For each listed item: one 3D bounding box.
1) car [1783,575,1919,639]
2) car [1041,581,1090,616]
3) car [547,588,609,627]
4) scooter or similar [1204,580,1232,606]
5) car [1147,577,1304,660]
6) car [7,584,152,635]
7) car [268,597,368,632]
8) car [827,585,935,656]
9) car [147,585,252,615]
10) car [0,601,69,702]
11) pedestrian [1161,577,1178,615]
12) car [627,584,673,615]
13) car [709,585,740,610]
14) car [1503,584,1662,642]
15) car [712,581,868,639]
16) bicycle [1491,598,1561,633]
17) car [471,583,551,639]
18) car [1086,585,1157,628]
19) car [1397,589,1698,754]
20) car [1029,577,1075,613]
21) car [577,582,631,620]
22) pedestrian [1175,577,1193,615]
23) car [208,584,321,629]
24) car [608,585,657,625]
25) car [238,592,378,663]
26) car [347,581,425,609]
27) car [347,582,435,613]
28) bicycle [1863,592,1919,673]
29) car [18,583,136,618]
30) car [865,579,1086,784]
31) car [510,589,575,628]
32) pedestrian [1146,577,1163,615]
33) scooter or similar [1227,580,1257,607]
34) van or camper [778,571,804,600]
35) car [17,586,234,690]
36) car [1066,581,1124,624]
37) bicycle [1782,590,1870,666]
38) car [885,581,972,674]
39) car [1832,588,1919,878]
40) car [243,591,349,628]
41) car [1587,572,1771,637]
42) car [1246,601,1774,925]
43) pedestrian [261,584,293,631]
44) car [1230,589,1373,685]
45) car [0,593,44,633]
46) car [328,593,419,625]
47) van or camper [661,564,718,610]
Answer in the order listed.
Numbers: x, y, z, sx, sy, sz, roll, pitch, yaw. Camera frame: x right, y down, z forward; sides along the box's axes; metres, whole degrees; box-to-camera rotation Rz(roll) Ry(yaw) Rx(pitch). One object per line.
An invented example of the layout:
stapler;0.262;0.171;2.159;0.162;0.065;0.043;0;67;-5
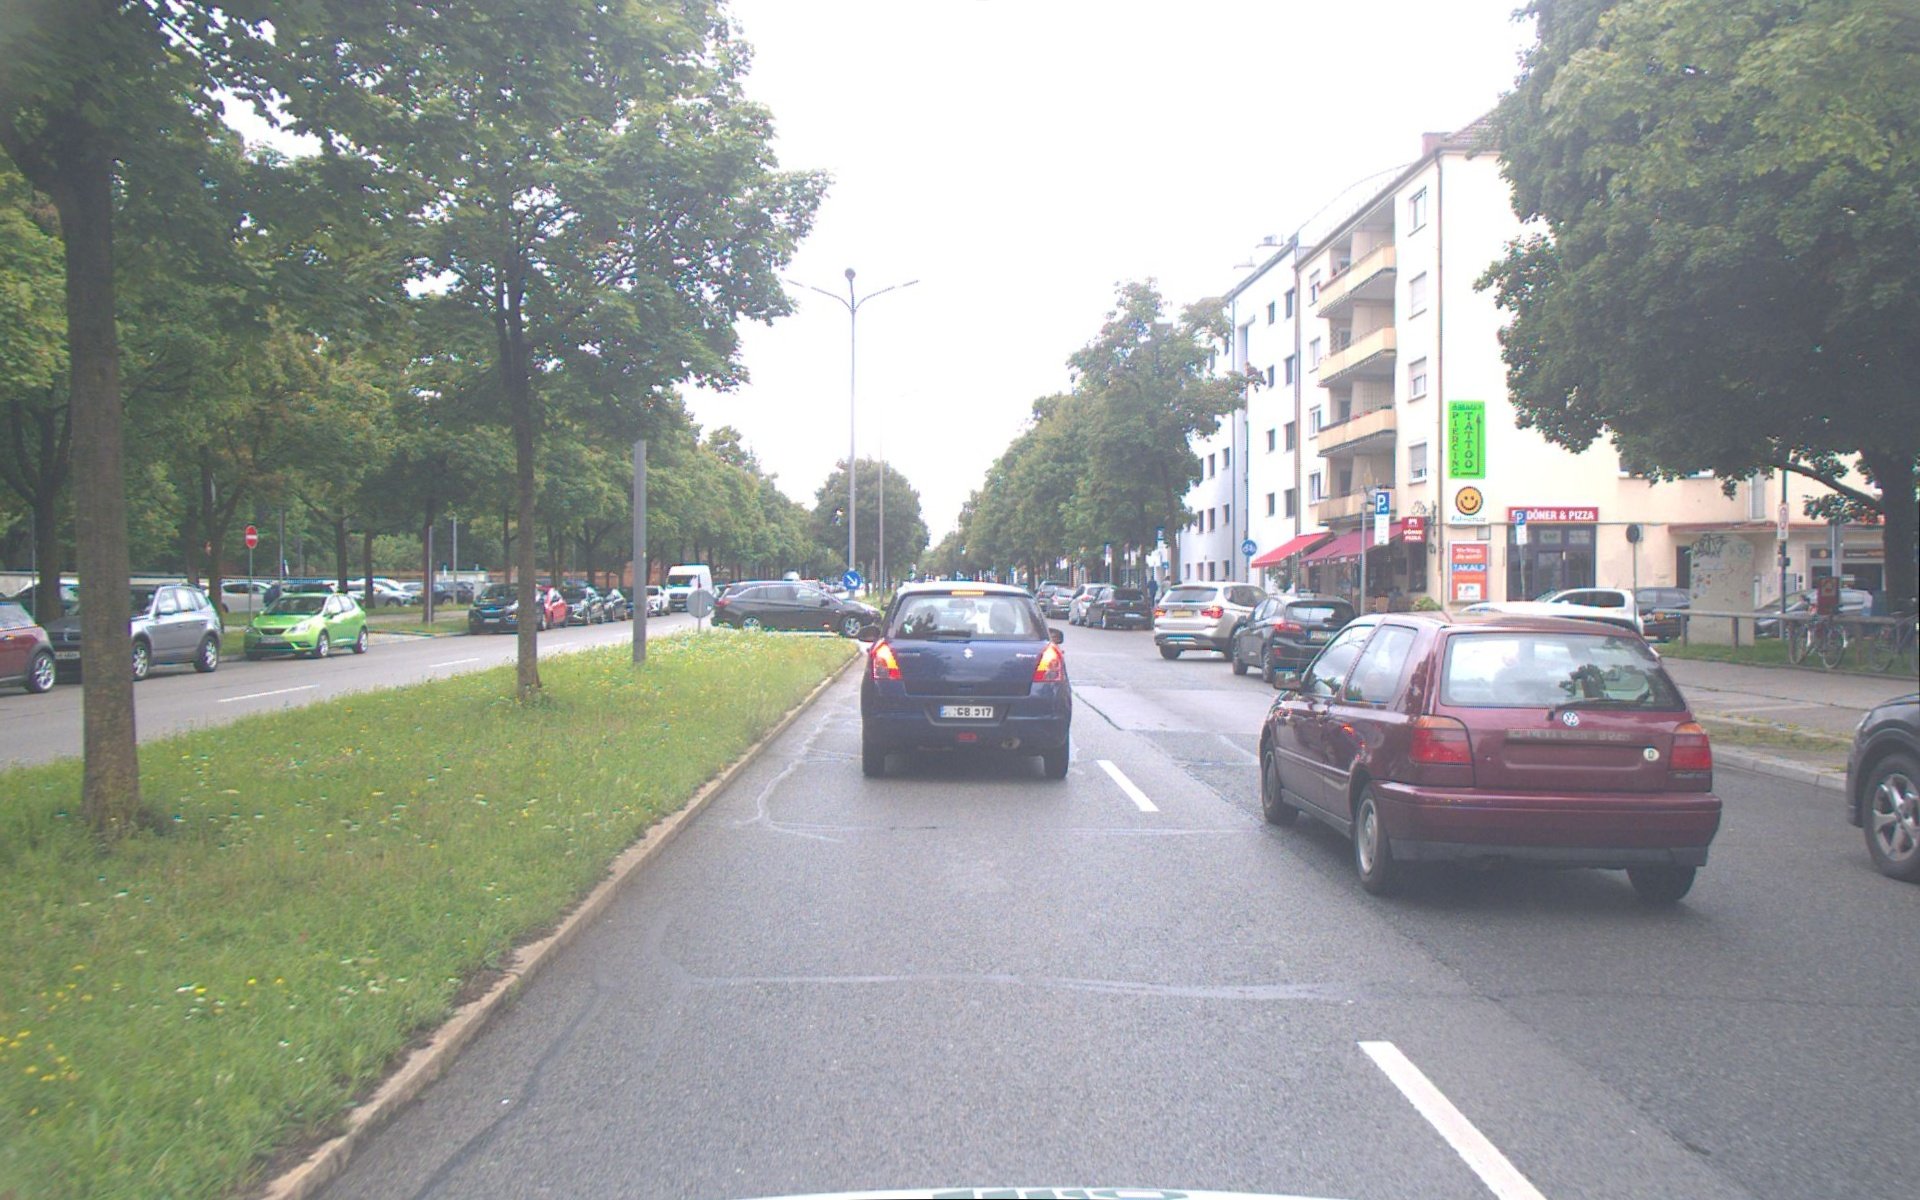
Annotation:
car;25.334;0.172;45.692;4.306;1.690;1.870;-1;0;-4
car;4.860;-0.102;76.902;1.828;1.544;4.222;0;1;-3
car;-14.999;0.272;65.138;1.633;1.471;3.878;1;0;-2
scooter or similar;13.384;-0.391;85.913;1.011;1.330;2.755;0;1;0
car;5.950;0.385;36.695;1.832;1.690;4.395;2;1;32
car;-26.731;0.278;50.188;4.325;1.471;1.956;1;0;31
car;-28.443;0.644;73.321;3.792;1.471;1.670;1;0;-7
car;-1.836;0.415;37.298;1.654;1.488;3.718;0;1;-16
car;-39.439;-0.007;85.830;4.595;1.471;1.672;1;0;-1
car;-14.448;0.770;23.472;1.558;1.421;3.631;-2;1;1
pedestrian;11.213;-0.227;88.380;0.778;2.049;1.006;0;0;0
car;-15.383;-0.031;82.193;1.599;1.456;3.878;1;0;-2
car;-15.814;-0.200;111.020;1.599;1.610;3.878;1;0;-2
car;16.129;0.333;42.977;3.474;1.442;1.873;0;1;3
car;-4.546;0.252;44.276;4.043;1.494;1.837;0;1;-7
bicycle;16.241;0.433;47.483;1.810;0.974;0.557;1;0;-2
car;-14.841;0.329;54.826;1.682;1.771;3.878;1;0;-2
car;5.697;0.195;58.883;1.829;1.442;4.221;-1;1;-4
car;6.174;0.671;17.901;1.648;1.491;4.136;2;1;-2
car;4.526;-0.260;81.622;1.828;1.712;4.222;0;1;-3
car;-15.139;0.029;70.484;1.558;1.585;3.878;1;0;-2
pedestrian;11.994;-0.216;88.558;0.778;2.049;1.006;0;0;0
car;-28.036;0.272;66.723;3.843;1.748;1.670;1;0;-7
car;-15.205;0.227;76.861;1.599;1.771;3.878;1;0;-2
car;-14.721;0.587;37.545;1.515;1.434;3.880;-2;1;2
car;-31.631;-0.269;91.201;3.792;1.471;1.670;1;0;-7
car;-28.316;-0.147;82.391;3.792;1.471;1.670;1;0;-7
bicycle;13.513;0.449;23.463;0.373;1.122;1.883;1;0;0
car;-40.044;0.042;75.026;4.414;1.502;1.672;1;0;-1
car;0.053;0.586;14.322;1.648;1.528;3.917;0;1;-2
car;-15.207;0.294;60.359;1.558;1.335;3.380;1;0;-2
pedestrian;10.372;-0.224;88.395;0.778;2.049;1.006;0;0;0
scooter or similar;13.810;-0.329;81.010;1.011;1.330;2.755;0;1;0
van or camper;-19.729;-1.676;193.036;2.509;3.353;6.935;1;0;-2
car;-14.542;0.597;29.119;1.656;1.614;4.369;-2;1;-2
car;5.186;0.051;64.050;1.755;1.585;4.223;0;1;-2
bicycle;13.462;0.417;25.769;0.381;1.124;1.853;1;0;0
car;-0.572;0.438;28.773;1.415;1.509;3.105;0;1;-2
car;6.059;0.756;7.687;1.682;1.560;4.275;1;1;-1
car;-27.992;0.396;69.805;3.792;1.471;1.670;1;0;-7
car;19.781;0.109;45.586;4.308;1.690;1.869;-1;0;-6
car;2.847;0.744;9.487;1.648;1.408;3.918;1;0;-1
pedestrian;-22.676;0.249;54.917;0.712;1.560;0.721;1;0;-1
car;5.779;0.578;28.369;1.584;1.491;3.673;2;0;-1
car;-31.287;0.377;52.790;4.325;1.222;1.669;1;0;31
car;-28.070;0.433;79.190;3.792;1.471;1.670;1;0;-7
van or camper;-15.687;-0.737;96.368;2.073;2.525;7.448;1;0;0
